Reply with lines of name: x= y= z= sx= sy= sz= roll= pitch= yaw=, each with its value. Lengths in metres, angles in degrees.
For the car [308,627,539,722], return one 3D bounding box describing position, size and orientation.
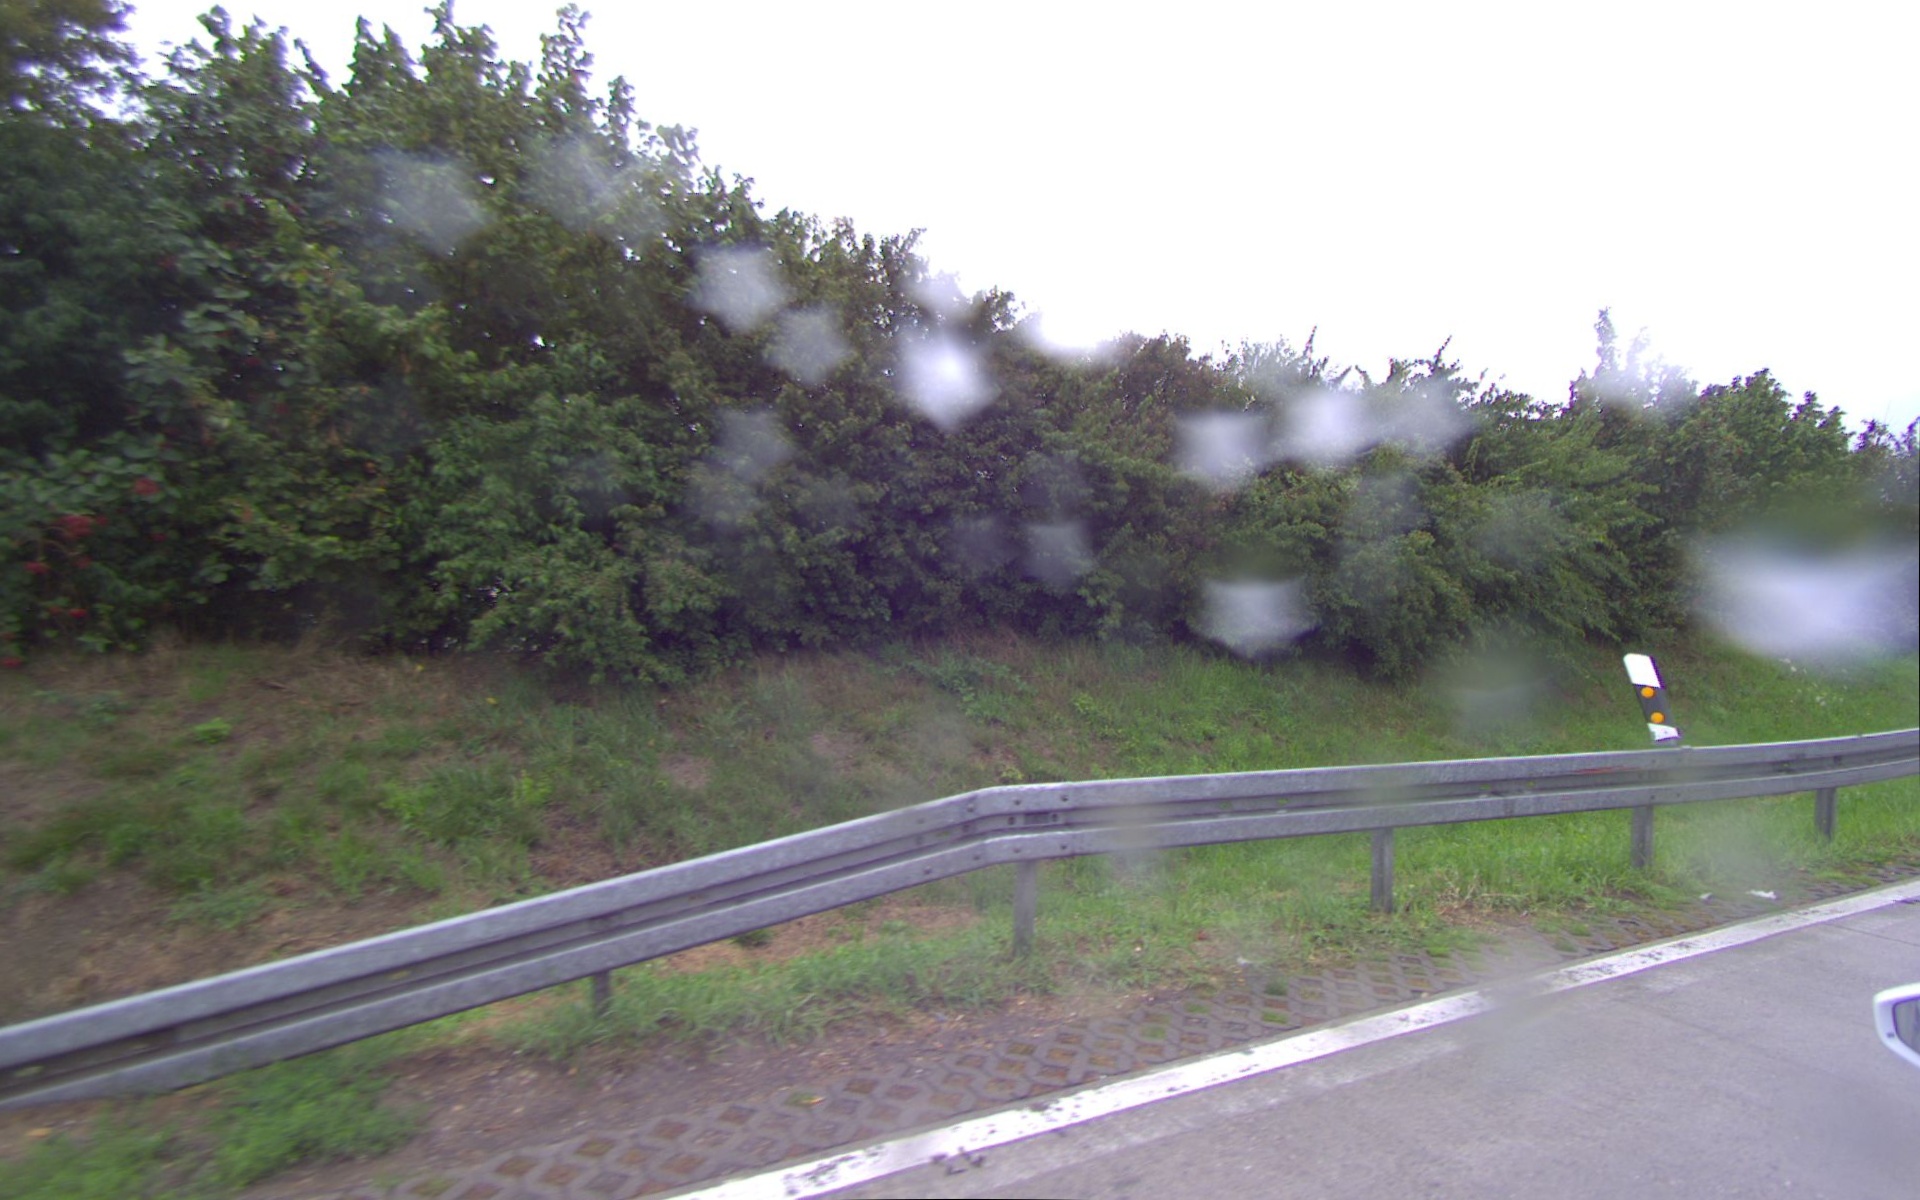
car: x=-10.793 y=1.454 z=20.400 sx=3.952 sy=1.761 sz=1.826 roll=2 pitch=-2 yaw=-30
